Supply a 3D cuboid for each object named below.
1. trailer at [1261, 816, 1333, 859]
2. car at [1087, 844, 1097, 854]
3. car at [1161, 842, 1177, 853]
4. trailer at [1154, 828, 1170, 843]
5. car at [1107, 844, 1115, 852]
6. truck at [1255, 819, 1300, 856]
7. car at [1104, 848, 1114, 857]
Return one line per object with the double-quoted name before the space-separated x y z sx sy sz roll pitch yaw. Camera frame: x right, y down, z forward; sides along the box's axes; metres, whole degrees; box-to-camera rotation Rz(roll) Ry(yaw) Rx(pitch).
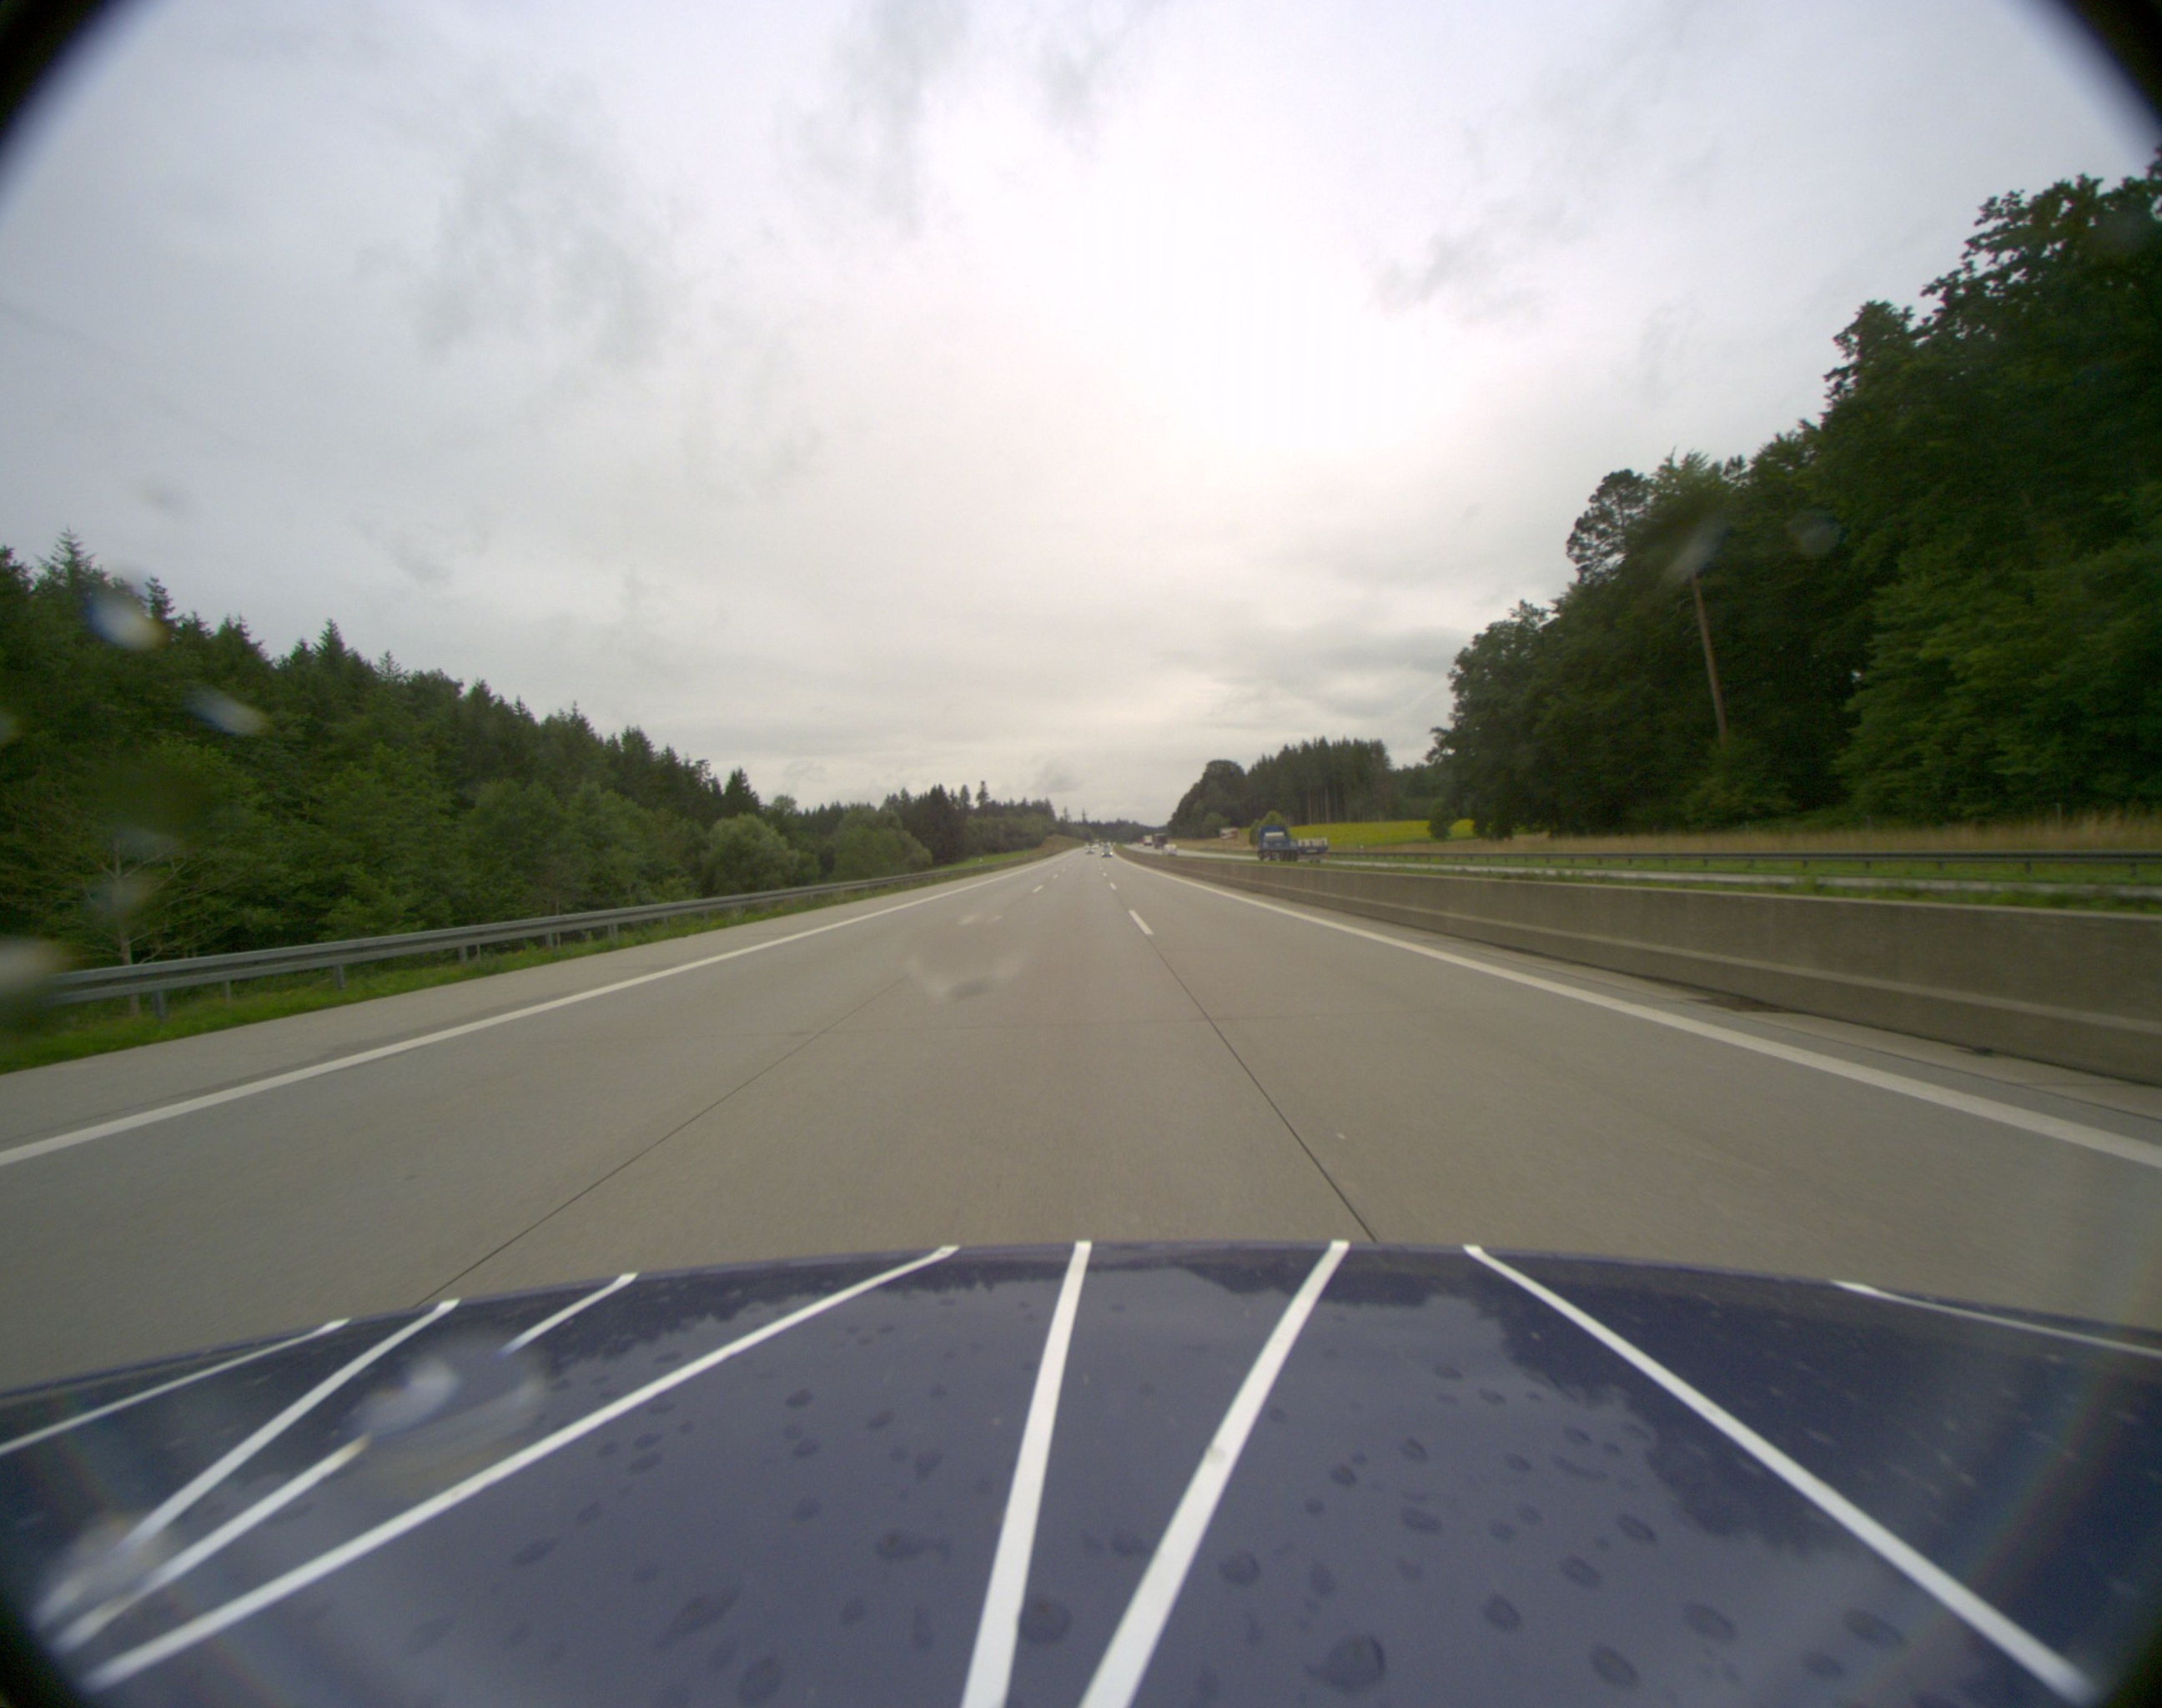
"trailer" 19.870 -1.508 71.058 2.792 3.487 13.883 -3 1 1
"car" 2.572 -1.189 180.585 2.213 2.002 4.833 -3 0 0
"car" 14.627 -1.062 126.812 2.093 1.791 5.497 -2 0 1
"trailer" 23.132 -5.276 216.917 3.243 4.029 14.129 -3 1 1
"car" 7.796 -1.600 199.200 1.773 1.783 4.000 -2 -1 0
"truck" 19.945 -1.624 77.510 2.763 3.497 6.639 -3 1 1
"car" 5.170 -0.238 140.824 1.766 1.455 4.001 -3 -1 2
